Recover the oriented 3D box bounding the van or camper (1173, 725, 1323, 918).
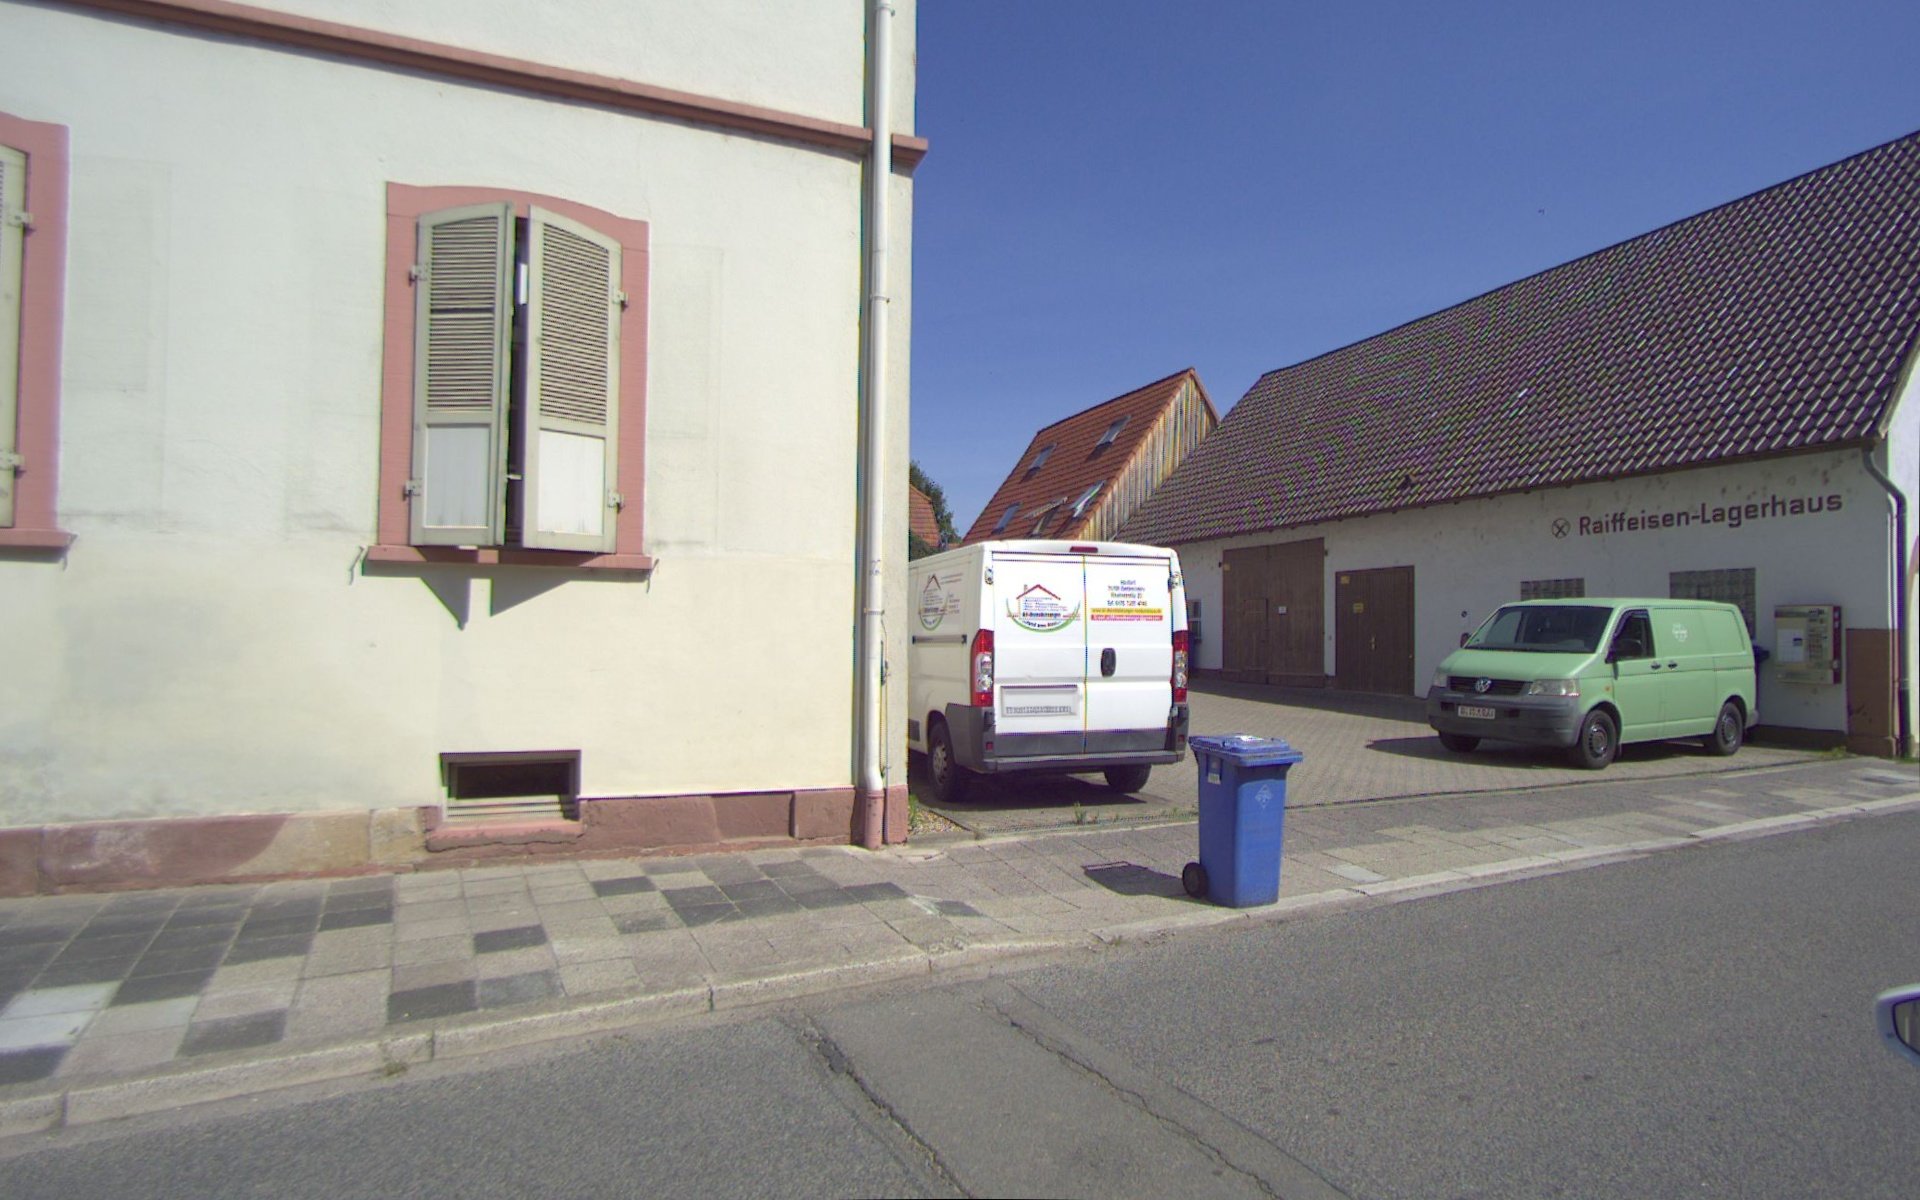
[{"bbox_3d":[1.652,1.239,5.798,0.592,0.964,0.588,1,-1,-24],"label":"van or camper"}]

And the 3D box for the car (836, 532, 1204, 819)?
[{"bbox_3d":[0.252,0.654,10.619,2.089,2.226,5.171,1,-1,-19],"label":"car"}]

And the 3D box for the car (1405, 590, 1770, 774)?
[{"bbox_3d":[8.077,0.960,12.854,4.612,1.990,1.985,2,-2,-29],"label":"car"}]
